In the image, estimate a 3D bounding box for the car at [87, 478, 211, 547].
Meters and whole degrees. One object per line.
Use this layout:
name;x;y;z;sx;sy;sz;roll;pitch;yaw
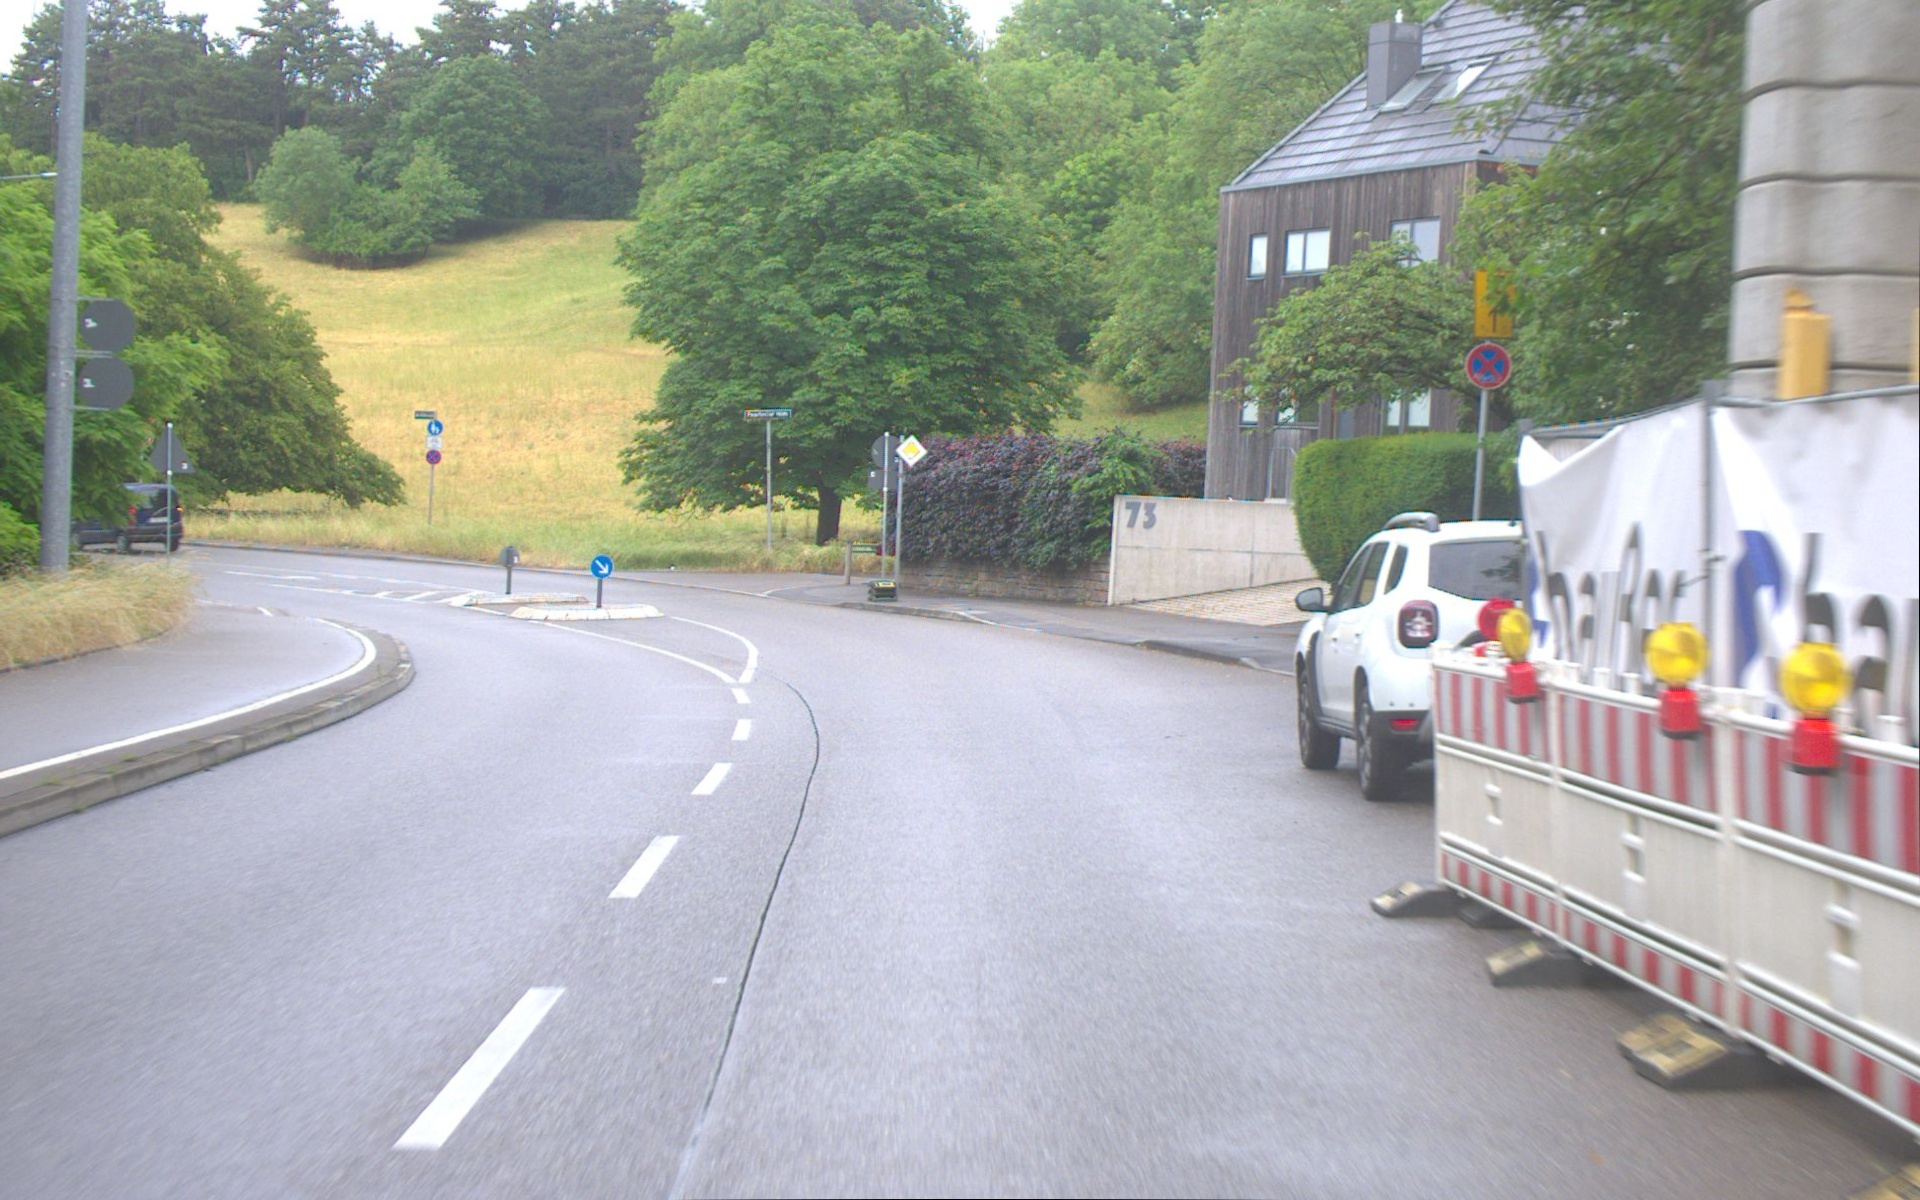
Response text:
car;-21.775;-2.350;92.245;1.932;1.745;4.000;2;1;-33

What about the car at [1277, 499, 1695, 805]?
car;3.134;0.242;21.371;1.745;1.700;4.502;0;1;-2
